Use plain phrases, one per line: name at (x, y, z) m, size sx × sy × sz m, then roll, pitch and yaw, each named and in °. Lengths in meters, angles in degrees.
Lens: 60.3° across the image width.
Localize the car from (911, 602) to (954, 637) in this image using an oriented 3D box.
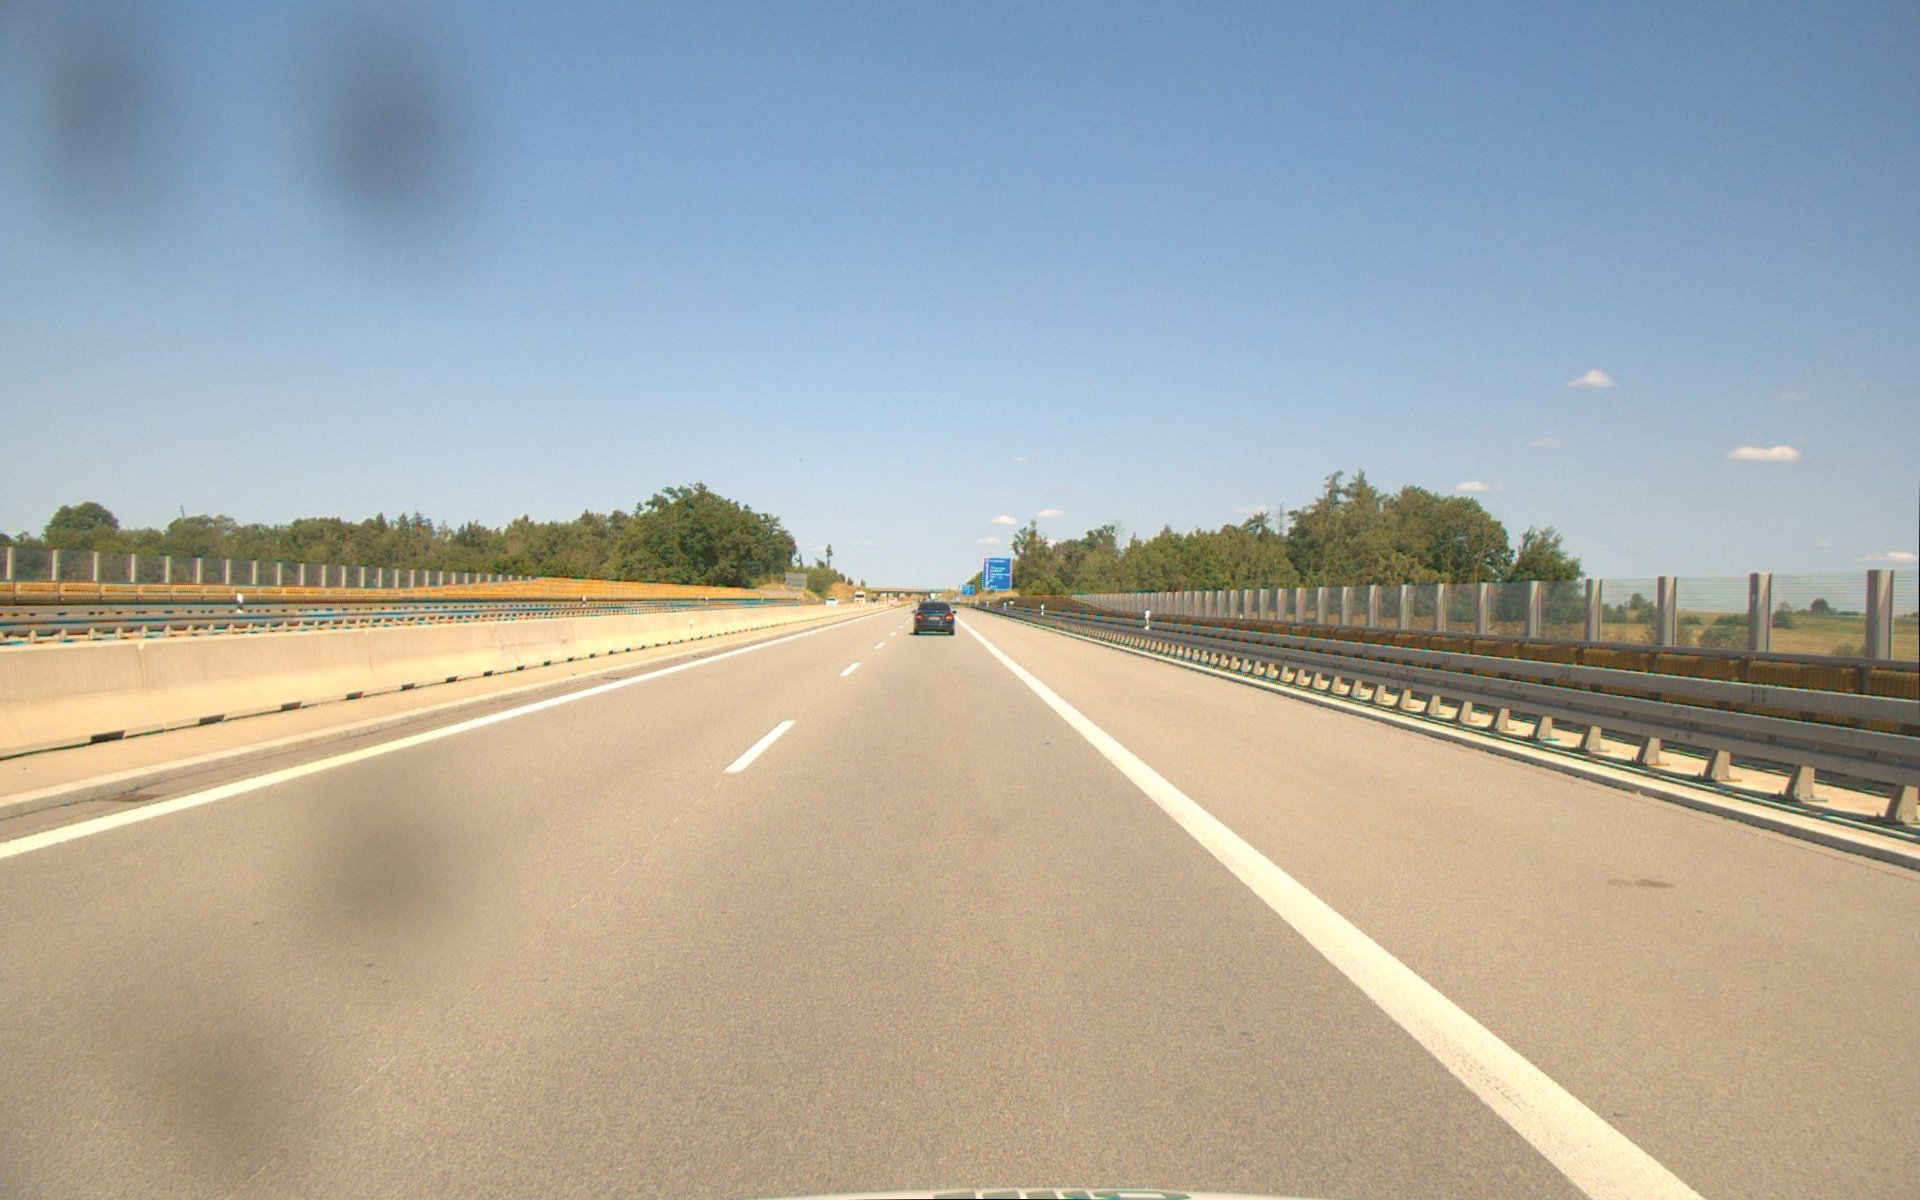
car at (-1.158, 0.796, 70.257) m, size 1.753 × 1.398 × 3.916 m, roll 1°, pitch 0°, yaw -1°

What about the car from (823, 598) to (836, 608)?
car at (-19.066, 0.434, 241.530) m, size 1.614 × 1.535 × 4.331 m, roll 1°, pitch 0°, yaw -1°
